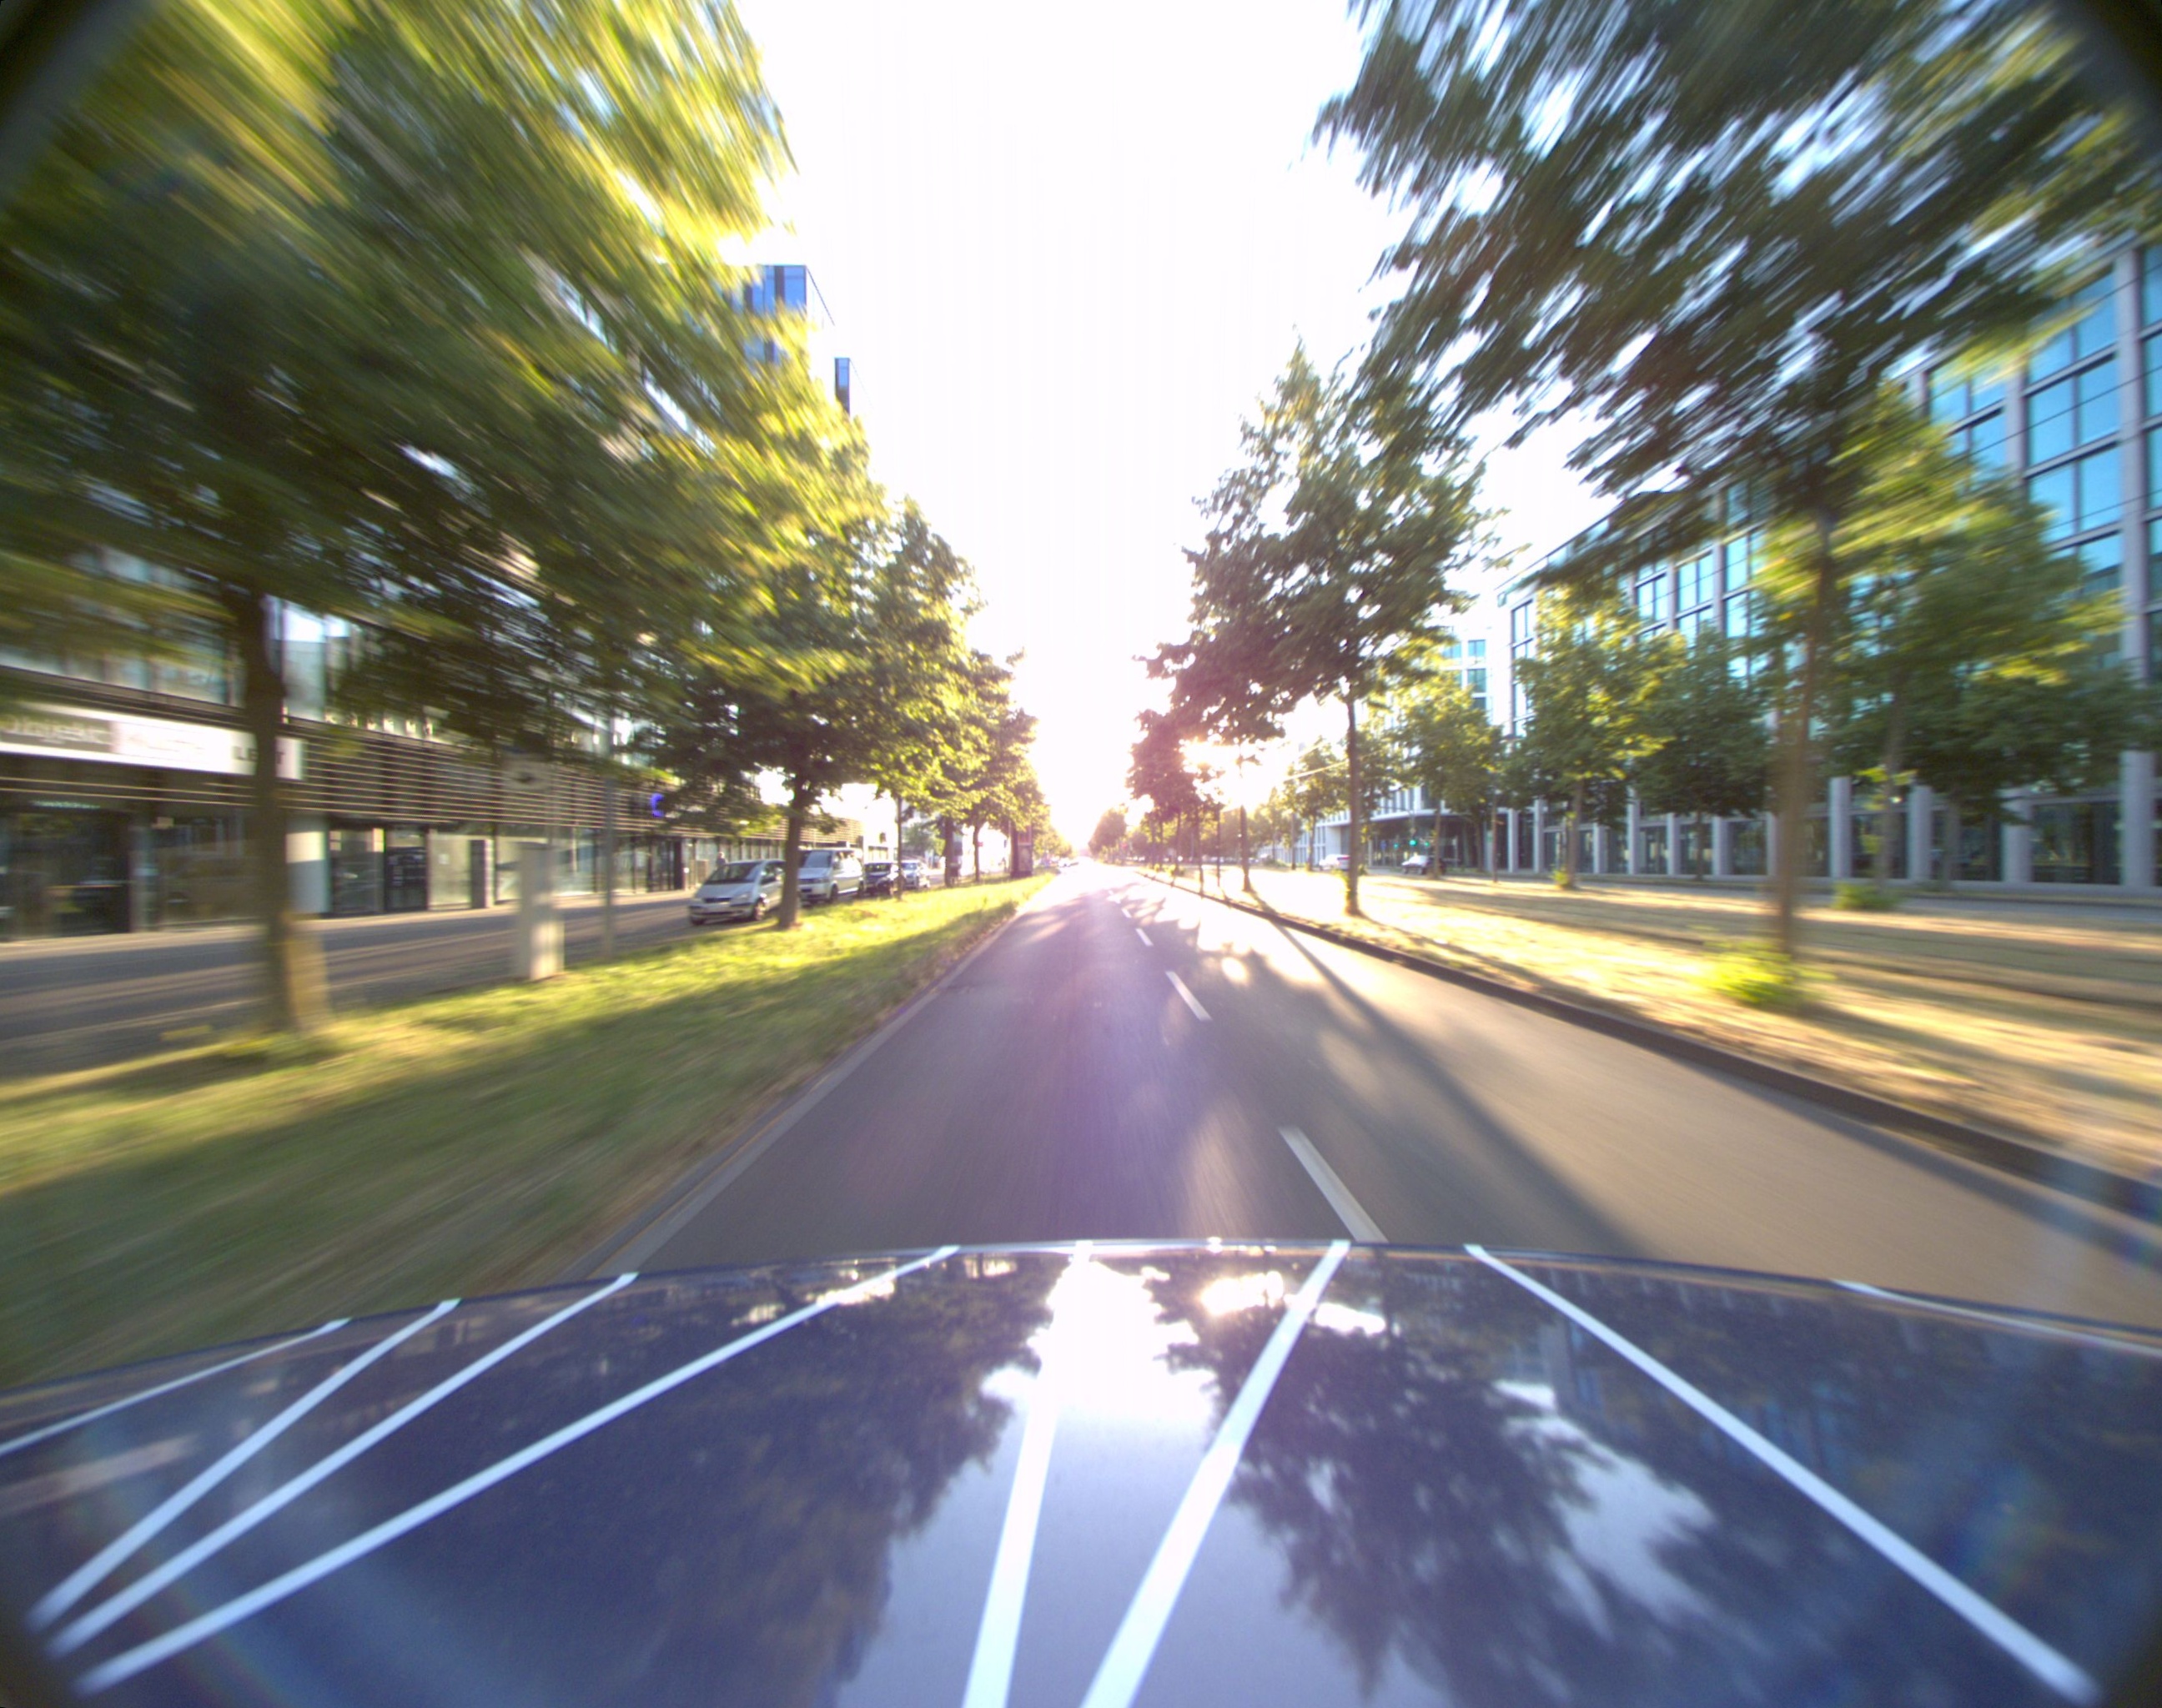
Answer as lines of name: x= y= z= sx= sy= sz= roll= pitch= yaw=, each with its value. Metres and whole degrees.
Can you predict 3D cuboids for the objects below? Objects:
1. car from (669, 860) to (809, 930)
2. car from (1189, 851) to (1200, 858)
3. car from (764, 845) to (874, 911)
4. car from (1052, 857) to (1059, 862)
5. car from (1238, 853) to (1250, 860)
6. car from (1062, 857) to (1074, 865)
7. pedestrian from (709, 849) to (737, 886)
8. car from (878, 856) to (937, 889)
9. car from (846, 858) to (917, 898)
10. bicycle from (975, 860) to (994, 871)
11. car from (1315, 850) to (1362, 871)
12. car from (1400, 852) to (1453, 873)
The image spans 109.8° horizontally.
car: x=-8.885 y=0.990 z=20.165 sx=1.843 sy=1.561 sz=4.060 roll=-2 pitch=1 yaw=-1
car: x=23.585 y=0.099 z=157.860 sx=1.645 sy=1.440 sz=3.999 roll=-1 pitch=0 yaw=-3
car: x=-8.747 y=0.729 z=25.864 sx=1.991 sy=1.977 sz=4.931 roll=-2 pitch=1 yaw=0
car: x=-7.593 y=1.594 z=230.294 sx=1.999 sy=1.594 sz=4.000 roll=-1 pitch=0 yaw=0
car: x=37.120 y=0.578 z=173.285 sx=1.763 sy=1.394 sz=3.999 roll=-1 pitch=0 yaw=-1
car: x=-2.262 y=1.200 z=130.970 sx=1.999 sy=1.473 sz=4.335 roll=-1 pitch=0 yaw=0
pedestrian: x=-17.435 y=0.664 z=37.036 sx=0.899 sy=1.786 sz=0.912 roll=-1 pitch=1 yaw=-1
car: x=-8.811 y=0.898 z=39.001 sx=1.922 sy=1.488 sz=5.040 roll=-2 pitch=0 yaw=-1
car: x=-8.441 y=0.971 z=32.548 sx=1.864 sy=1.488 sz=4.289 roll=1 pitch=1 yaw=1
bicycle: x=-8.159 y=0.940 z=64.223 sx=1.719 sy=0.905 sz=0.363 roll=-1 pitch=0 yaw=33
car: x=19.755 y=0.473 z=58.535 sx=1.907 sy=1.477 sz=4.630 roll=-1 pitch=0 yaw=-1
car: x=25.631 y=0.595 z=56.543 sx=1.936 sy=1.414 sz=4.388 roll=0 pitch=0 yaw=0
